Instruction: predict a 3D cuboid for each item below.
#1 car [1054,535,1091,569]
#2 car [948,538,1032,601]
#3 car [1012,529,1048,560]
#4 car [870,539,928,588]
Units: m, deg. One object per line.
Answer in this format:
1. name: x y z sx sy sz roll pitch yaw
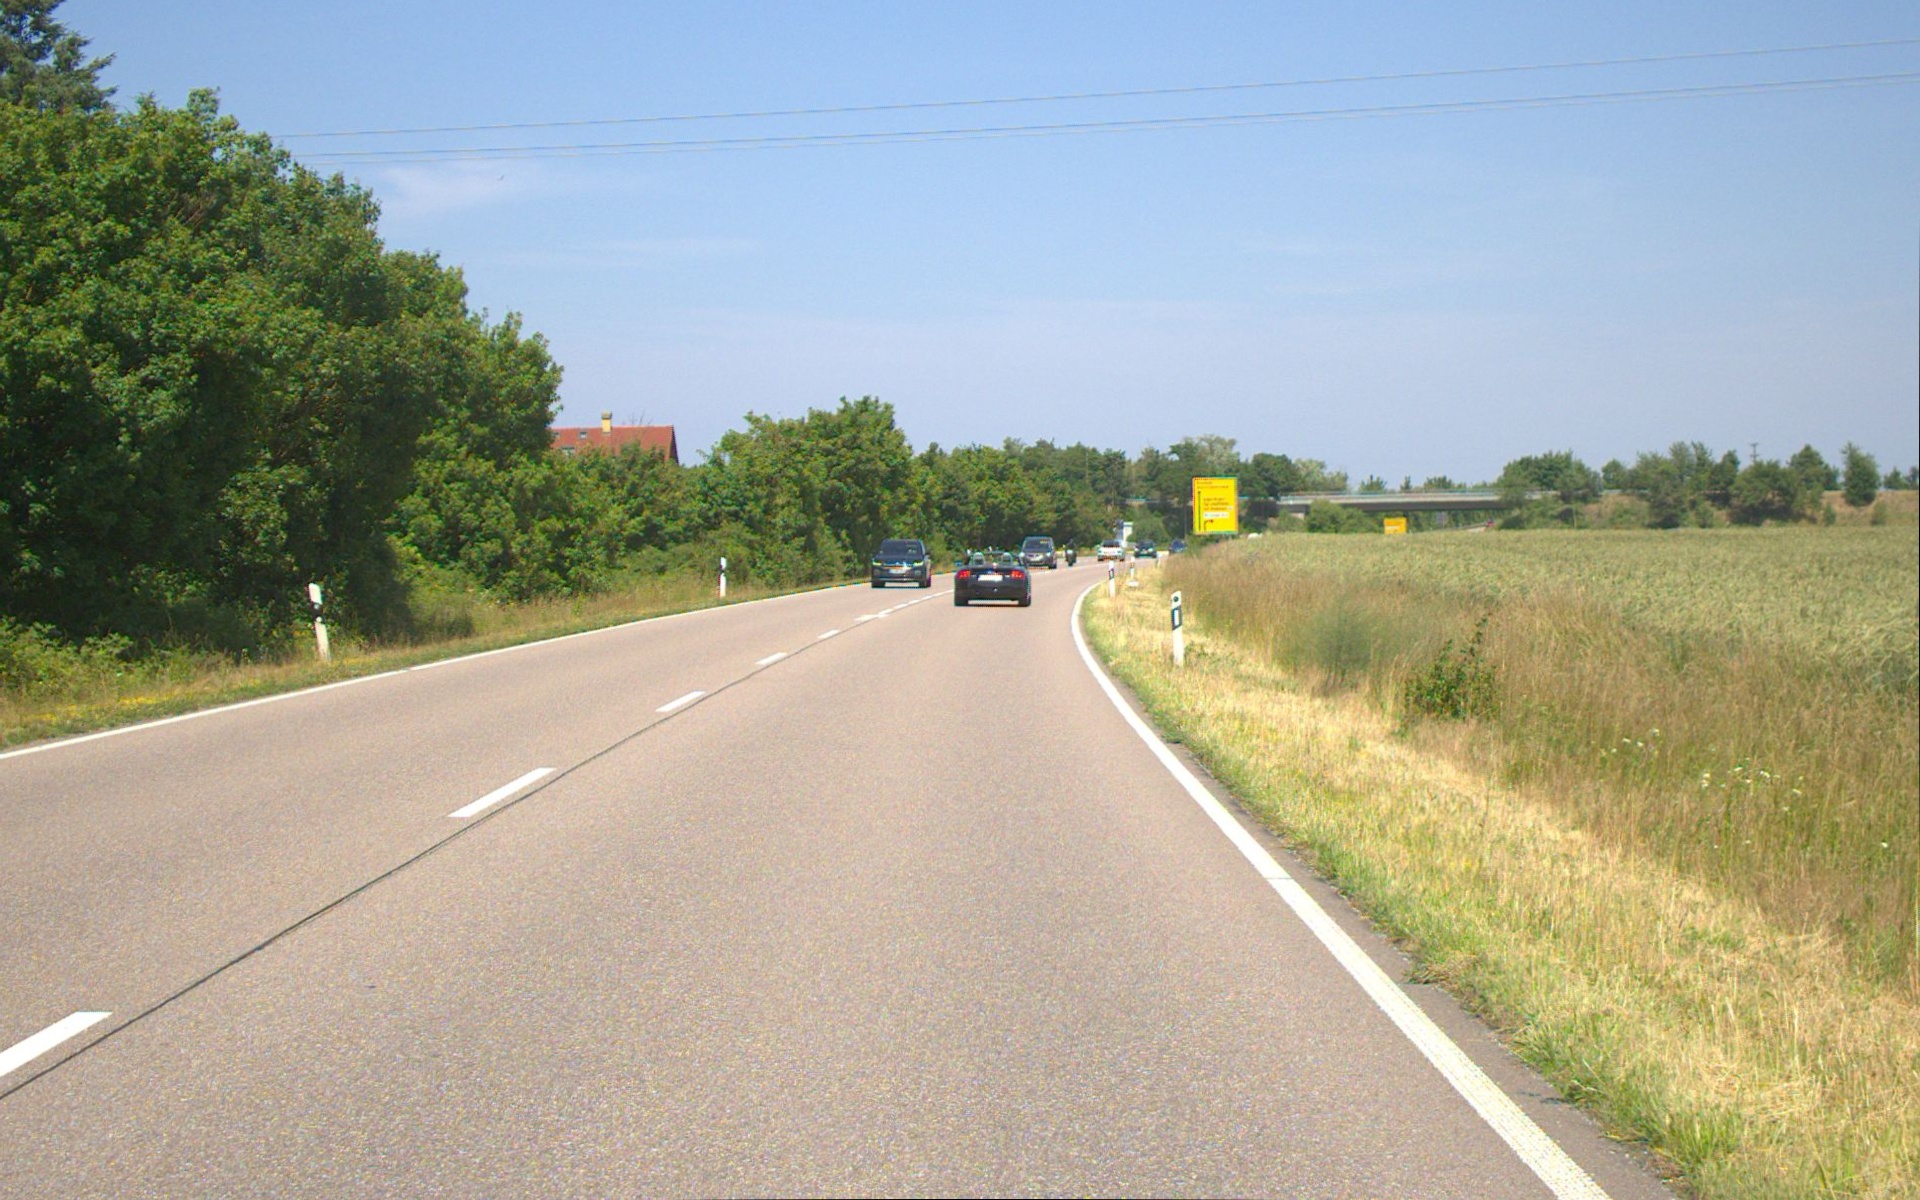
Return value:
1. car: 6.710 -2.863 204.480 1.867 2.007 3.999 1 1 6
2. car: 0.741 -0.733 81.999 1.814 1.436 4.000 1 1 3
3. car: 3.795 -3.013 185.884 1.819 1.695 5.001 0 1 3
4. car: -1.960 -1.197 111.305 1.699 1.561 3.671 0 1 1
